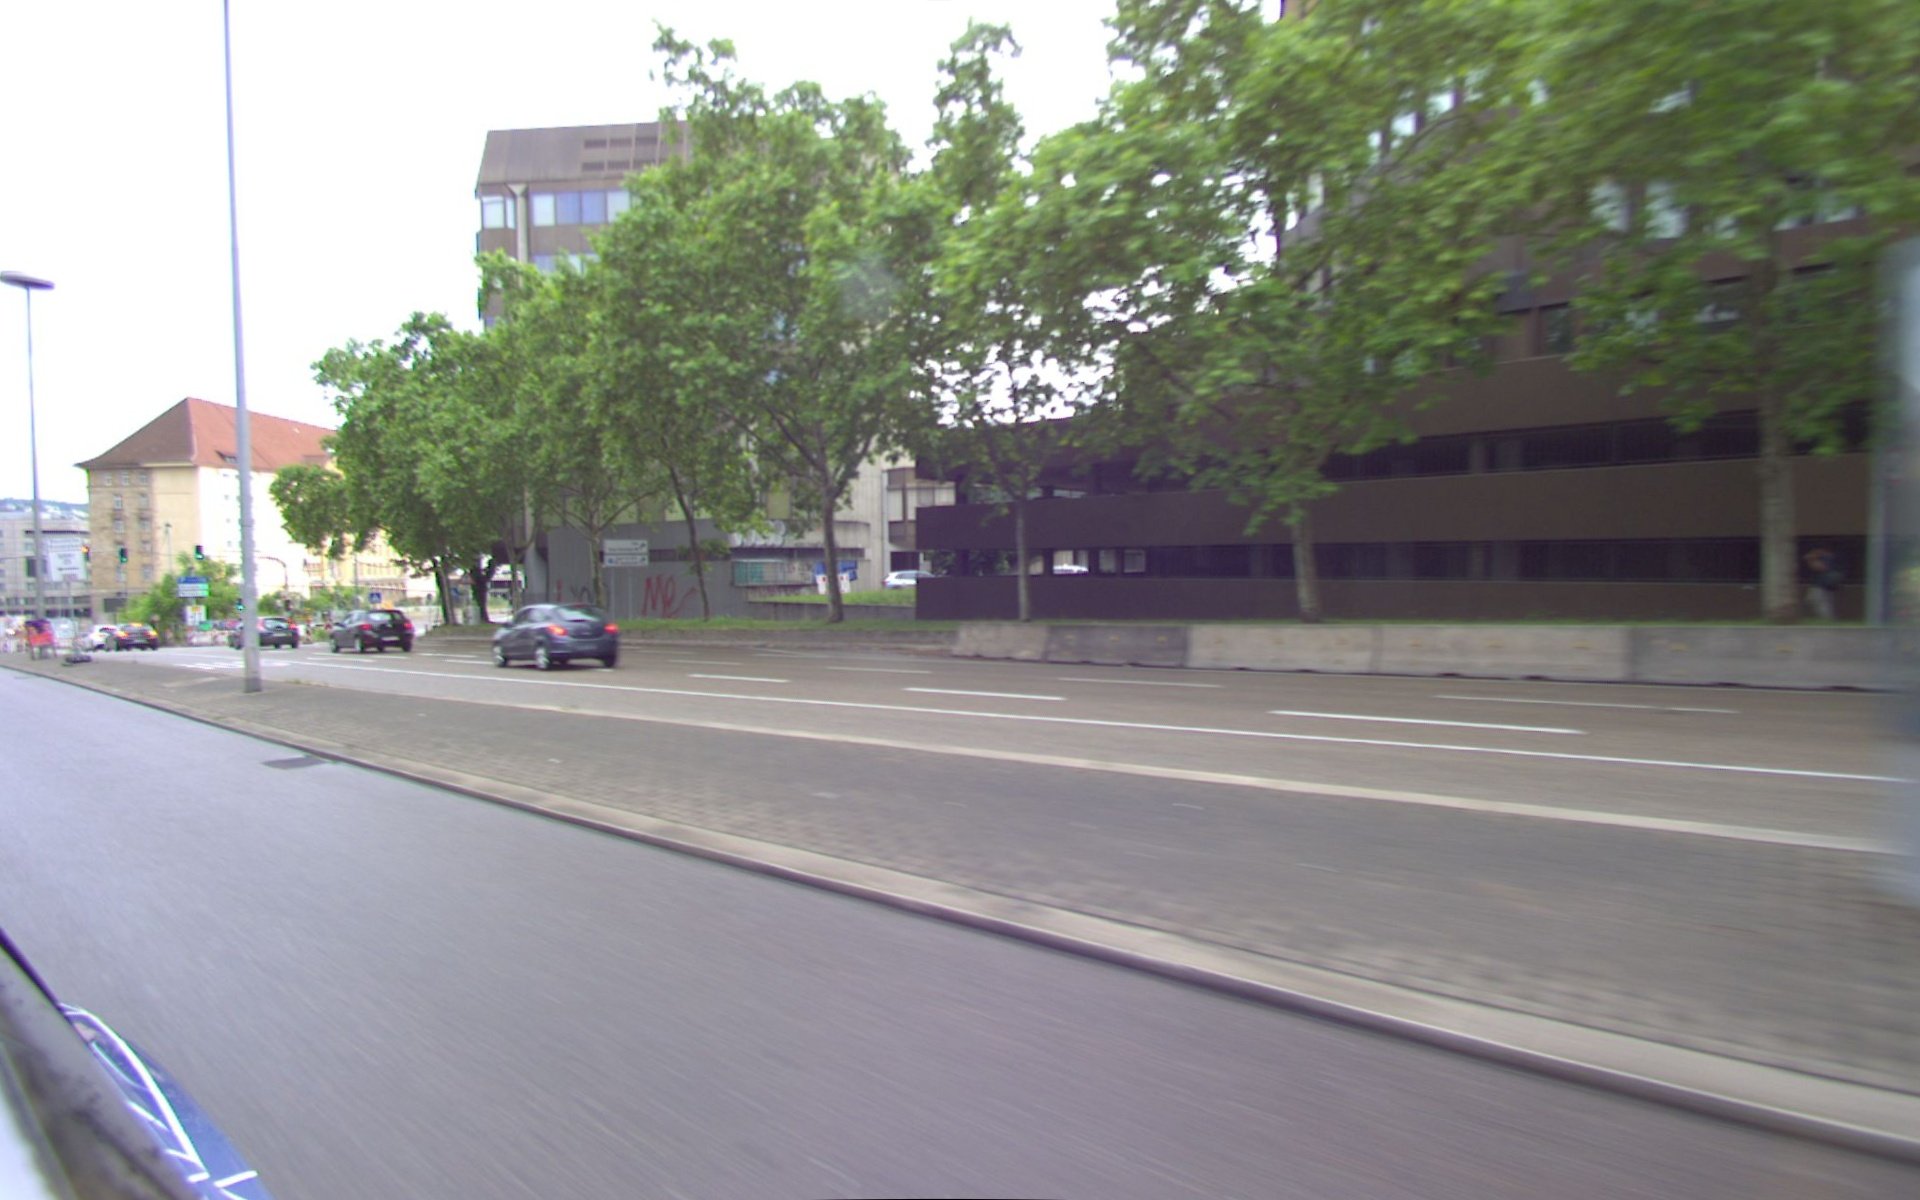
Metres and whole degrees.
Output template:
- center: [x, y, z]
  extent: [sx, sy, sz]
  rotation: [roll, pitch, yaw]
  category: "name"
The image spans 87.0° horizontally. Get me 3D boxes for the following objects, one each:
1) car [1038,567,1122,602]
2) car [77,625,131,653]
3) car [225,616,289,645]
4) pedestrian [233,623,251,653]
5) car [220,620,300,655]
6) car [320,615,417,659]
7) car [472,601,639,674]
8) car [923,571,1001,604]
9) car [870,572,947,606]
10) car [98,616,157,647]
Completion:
- center: [6.362, -0.780, 53.934]
  extent: [3.995, 1.730, 1.974]
  rotation: [-1, 0, 38]
  category: "car"
- center: [-48.056, 2.170, 56.783]
  extent: [3.863, 1.497, 1.775]
  rotation: [-1, 0, 42]
  category: "car"
- center: [-39.006, 1.687, 56.152]
  extent: [4.505, 1.511, 1.913]
  rotation: [-1, 0, 42]
  category: "car"
- center: [-48.756, 2.587, 68.722]
  extent: [0.656, 2.029, 0.808]
  rotation: [-1, 0, 11]
  category: "pedestrian"
- center: [-30.921, 1.644, 44.668]
  extent: [4.505, 1.447, 1.913]
  rotation: [-2, -1, 42]
  category: "car"
- center: [-20.887, 1.291, 35.693]
  extent: [4.077, 1.447, 1.912]
  rotation: [-2, -1, 44]
  category: "car"
- center: [-9.374, 0.851, 23.309]
  extent: [4.172, 1.511, 1.913]
  rotation: [-3, -1, 42]
  category: "car"
- center: [0.098, -0.712, 57.705]
  extent: [3.931, 1.730, 2.007]
  rotation: [-2, 0, -24]
  category: "car"
- center: [-2.761, -0.570, 53.884]
  extent: [3.938, 1.730, 2.003]
  rotation: [-1, 0, -6]
  category: "car"
- center: [-43.019, 1.613, 52.291]
  extent: [3.862, 1.497, 1.775]
  rotation: [-1, 0, 42]
  category: "car"
